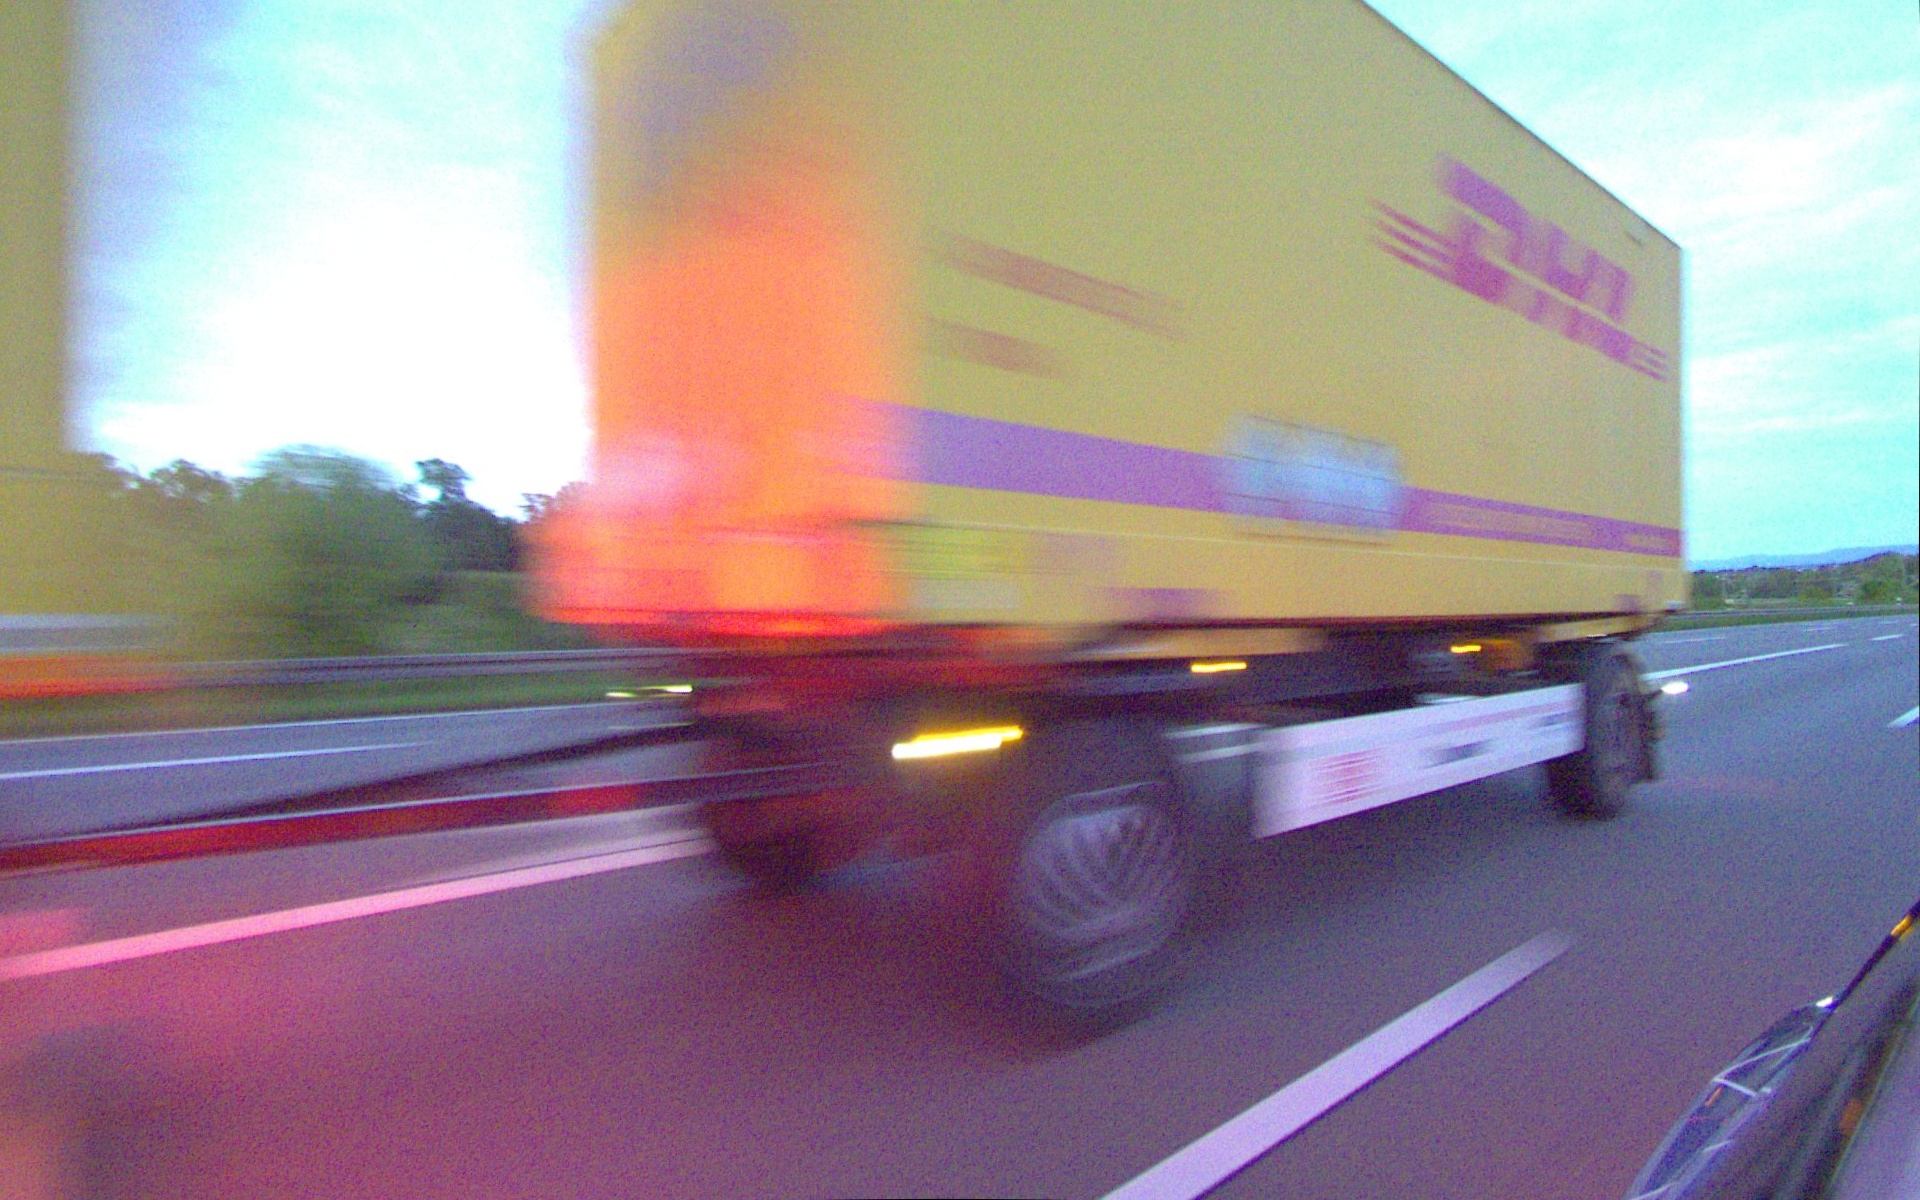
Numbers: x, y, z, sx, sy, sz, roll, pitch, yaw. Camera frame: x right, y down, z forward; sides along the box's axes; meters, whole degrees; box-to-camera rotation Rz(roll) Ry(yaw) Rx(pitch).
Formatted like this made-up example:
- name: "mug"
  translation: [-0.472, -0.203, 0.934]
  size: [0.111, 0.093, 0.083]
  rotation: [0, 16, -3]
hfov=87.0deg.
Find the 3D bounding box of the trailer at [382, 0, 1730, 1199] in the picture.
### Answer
- name: "trailer"
  translation: [1.769, -0.668, 5.988]
  size: [8.676, 4.123, 2.727]
  rotation: [0, 0, -41]
